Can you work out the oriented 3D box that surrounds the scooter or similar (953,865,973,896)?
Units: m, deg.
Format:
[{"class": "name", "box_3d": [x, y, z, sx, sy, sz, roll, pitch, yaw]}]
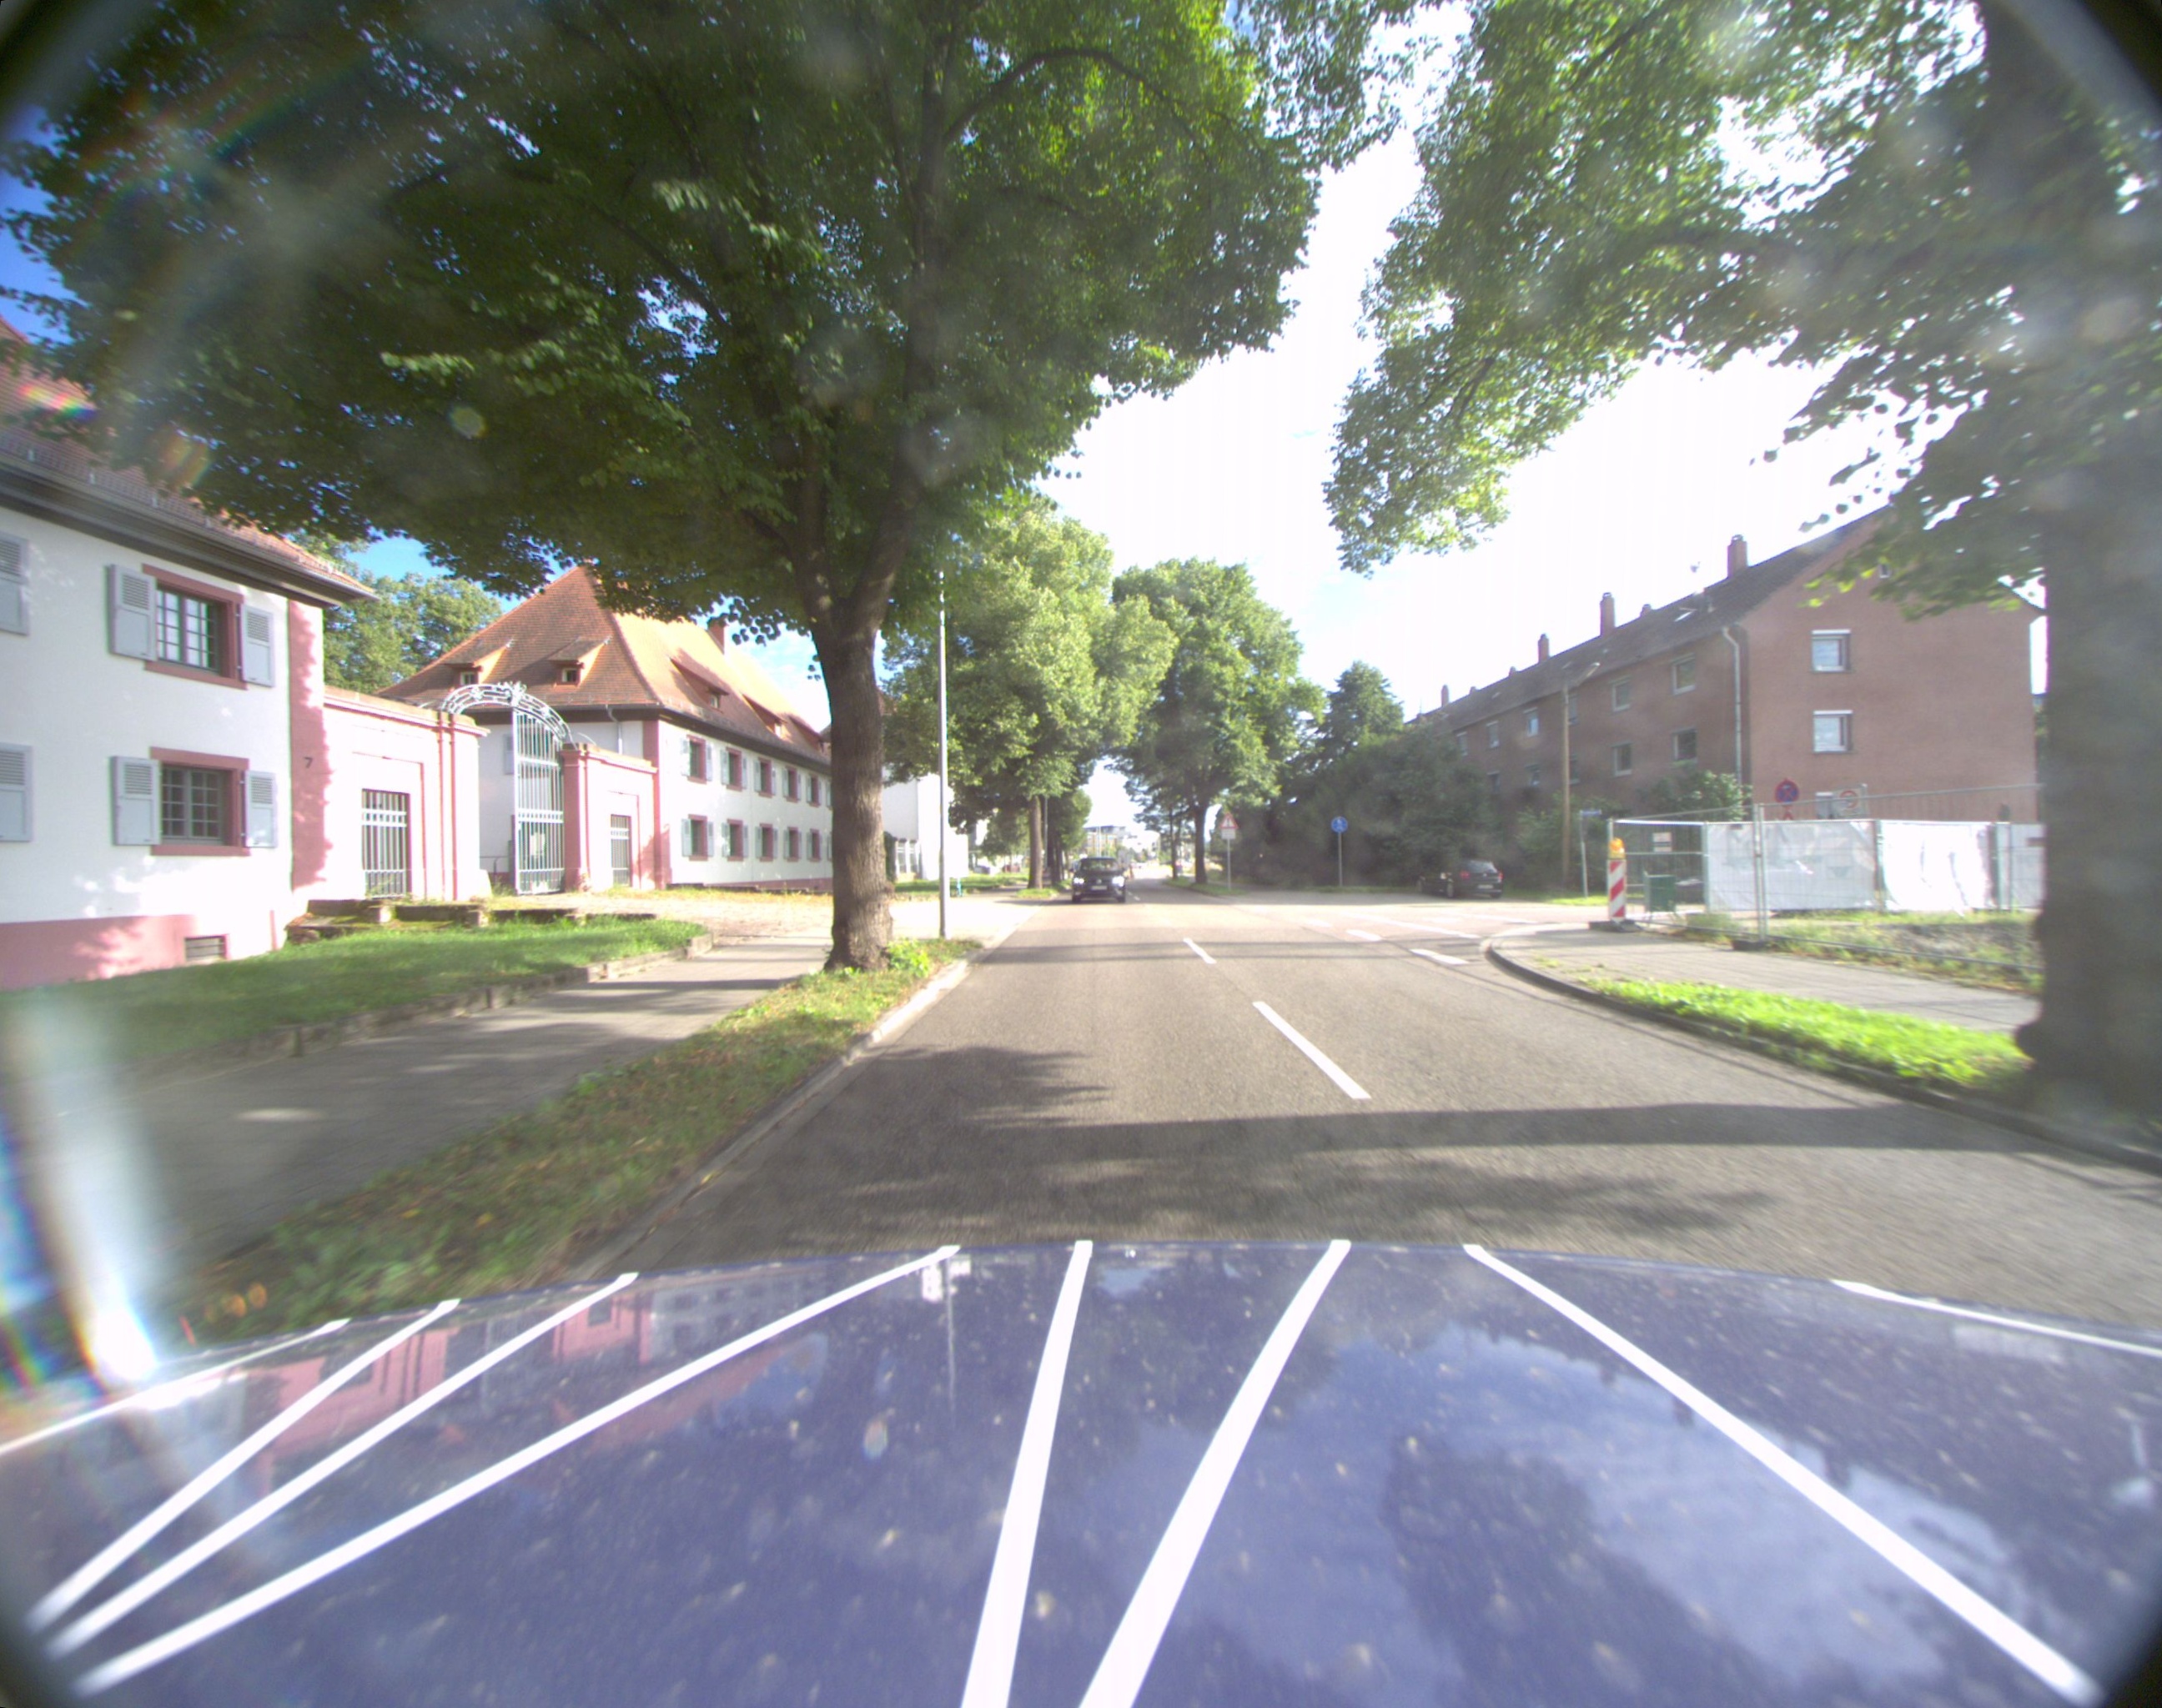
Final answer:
[{"class": "scooter or similar", "box_3d": [-5.067, 1.115, 32.603, 0.580, 1.284, 1.382, 1, 0, 3]}]

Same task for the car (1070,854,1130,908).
[{"class": "car", "box_3d": [0.686, 0.872, 26.112, 1.821, 1.648, 4.244, -2, -1, 3]}]

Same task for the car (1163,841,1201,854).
[{"class": "car", "box_3d": [16.804, -1.032, 126.693, 2.482, 1.856, 6.236, -3, 1, -42]}]

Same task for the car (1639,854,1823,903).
[{"class": "car", "box_3d": [20.498, 0.747, 24.129, 3.996, 1.298, 1.999, -1, 5, 4]}]

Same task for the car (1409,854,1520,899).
[{"class": "car", "box_3d": [13.876, 0.767, 27.847, 1.998, 1.420, 4.508, -1, 1, 3]}]
